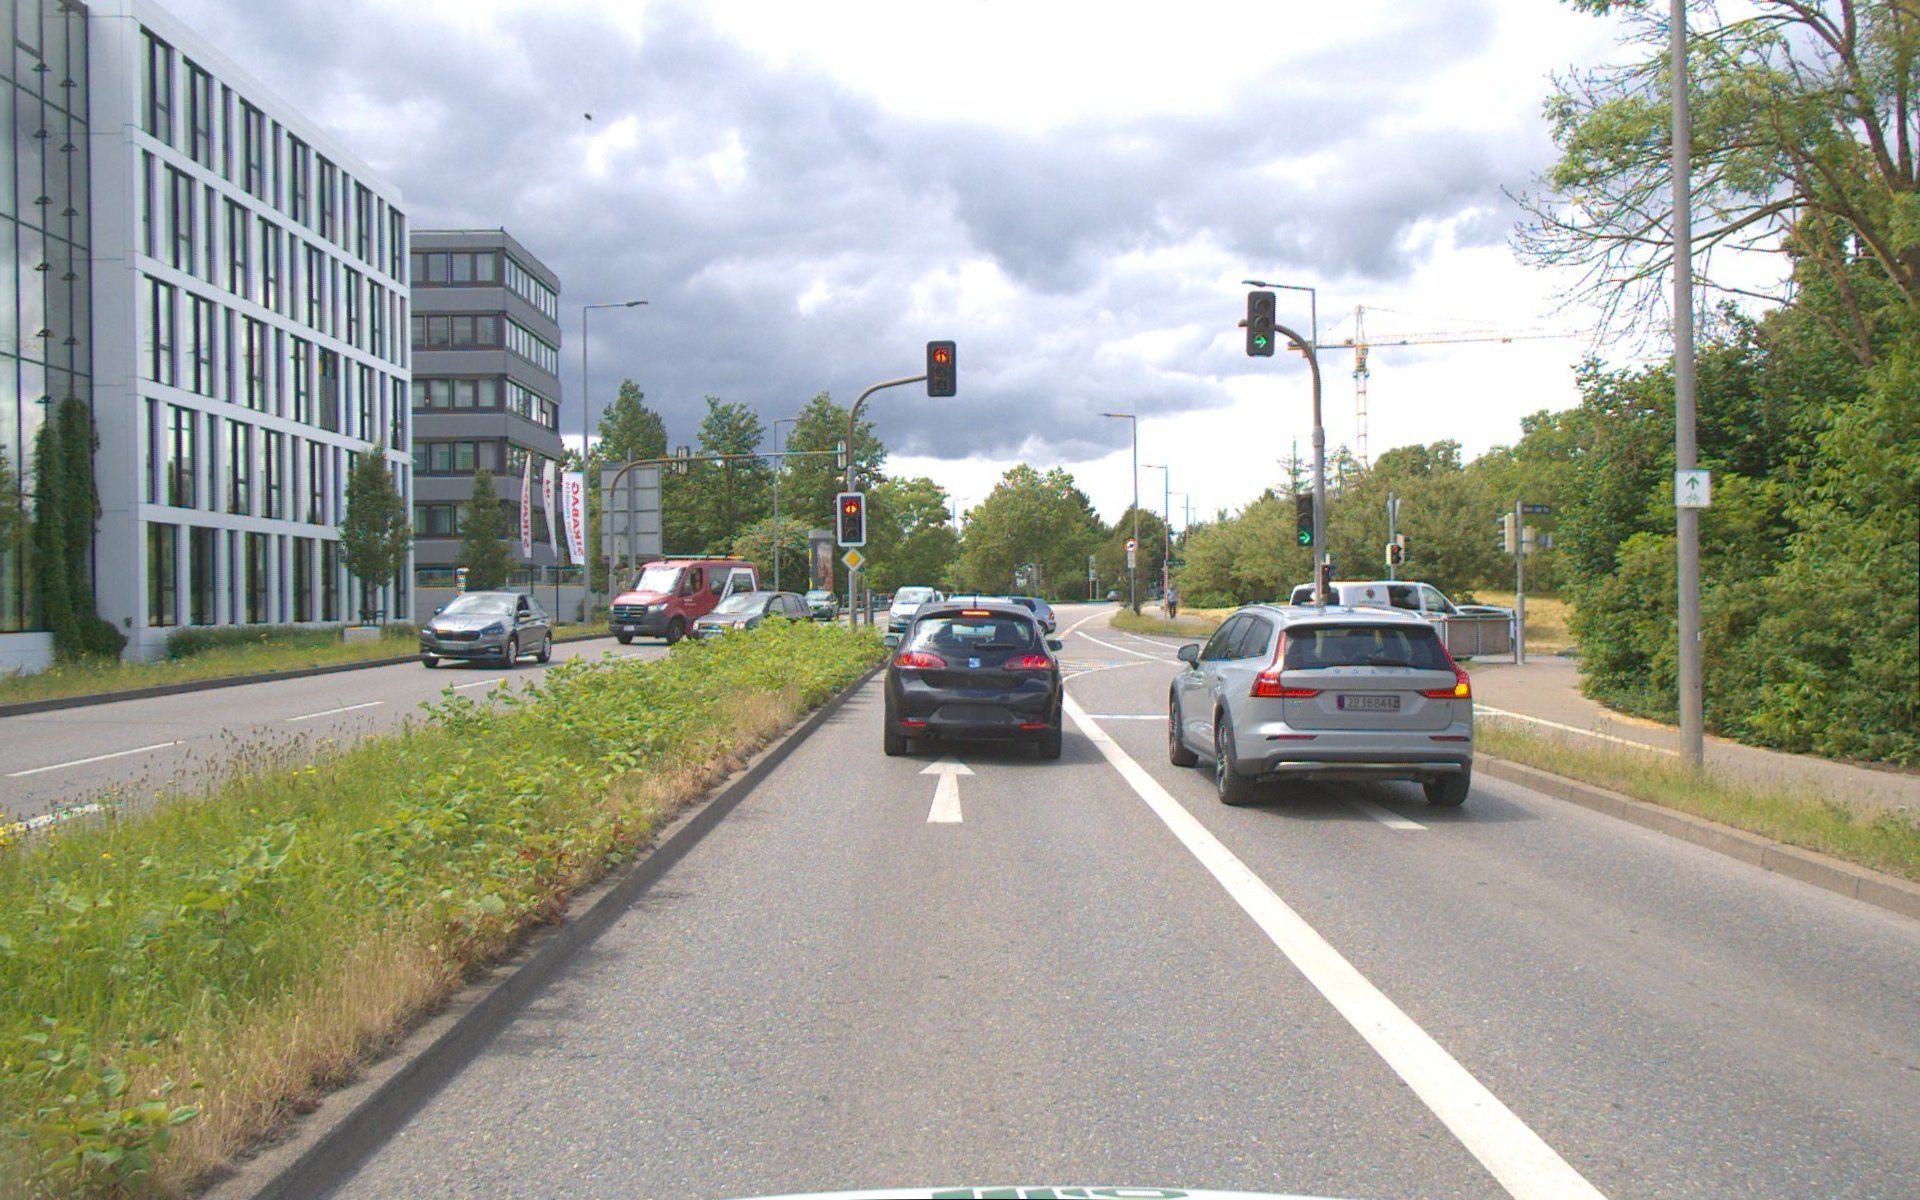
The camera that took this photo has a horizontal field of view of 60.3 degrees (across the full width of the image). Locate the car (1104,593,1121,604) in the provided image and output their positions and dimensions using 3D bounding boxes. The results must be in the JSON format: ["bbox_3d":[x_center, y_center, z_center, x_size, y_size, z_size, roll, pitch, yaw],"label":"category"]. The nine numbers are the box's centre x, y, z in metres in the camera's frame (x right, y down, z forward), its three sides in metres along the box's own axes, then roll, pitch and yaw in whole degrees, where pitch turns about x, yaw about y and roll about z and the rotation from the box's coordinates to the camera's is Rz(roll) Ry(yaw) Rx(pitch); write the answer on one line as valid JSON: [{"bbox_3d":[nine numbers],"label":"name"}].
[{"bbox_3d":[19.761,-0.246,213.904,1.951,1.375,4.003,0,0,8],"label":"car"}]

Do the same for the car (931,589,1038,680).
[{"bbox_3d":[0.382,0.567,29.928,1.737,1.517,3.581,-1,0,-2],"label":"car"}]

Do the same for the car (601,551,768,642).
[{"bbox_3d":[-7.767,-0.101,47.143,1.955,2.454,5.234,-1,0,27],"label":"car"}]

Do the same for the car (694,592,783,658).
[{"bbox_3d":[-5.297,0.568,40.005,1.644,1.508,4.000,0,0,0],"label":"car"}]

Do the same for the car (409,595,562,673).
[{"bbox_3d":[-9.243,0.614,32.537,1.893,1.422,4.000,0,0,-1],"label":"car"}]

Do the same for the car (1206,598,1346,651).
[{"bbox_3d":[9.404,0.724,49.420,3.903,1.543,1.942,0,0,3],"label":"car"}]

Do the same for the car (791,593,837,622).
[{"bbox_3d":[-7.202,0.369,81.941,1.953,1.375,4.000,0,0,0],"label":"car"}]

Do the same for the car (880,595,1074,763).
[{"bbox_3d":[0.153,0.706,16.730,1.737,1.477,3.582,1,0,0],"label":"car"}]

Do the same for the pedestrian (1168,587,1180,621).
[{"bbox_3d":[11.070,0.217,85.528,0.547,1.756,0.588,1,0,1],"label":"pedestrian"}]

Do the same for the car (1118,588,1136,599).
[{"bbox_3d":[20.138,-0.777,199.378,1.951,1.375,4.003,0,0,8],"label":"car"}]

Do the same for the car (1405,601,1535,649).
[{"bbox_3d":[17.149,0.831,55.778,3.902,1.557,2.002,0,0,6],"label":"car"}]

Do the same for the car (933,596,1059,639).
[{"bbox_3d":[1.197,0.577,55.896,3.919,1.378,1.993,0,0,-14],"label":"car"}]

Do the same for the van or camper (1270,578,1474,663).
[{"bbox_3d":[9.737,0.432,38.965,4.886,1.892,1.976,-1,0,-35],"label":"van or camper"}]

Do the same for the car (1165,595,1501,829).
[{"bbox_3d":[2.821,0.761,13.516,1.824,1.545,4.447,-1,0,1],"label":"car"}]

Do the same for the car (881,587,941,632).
[{"bbox_3d":[-1.820,0.336,63.016,1.952,1.624,4.002,0,0,3],"label":"car"}]
